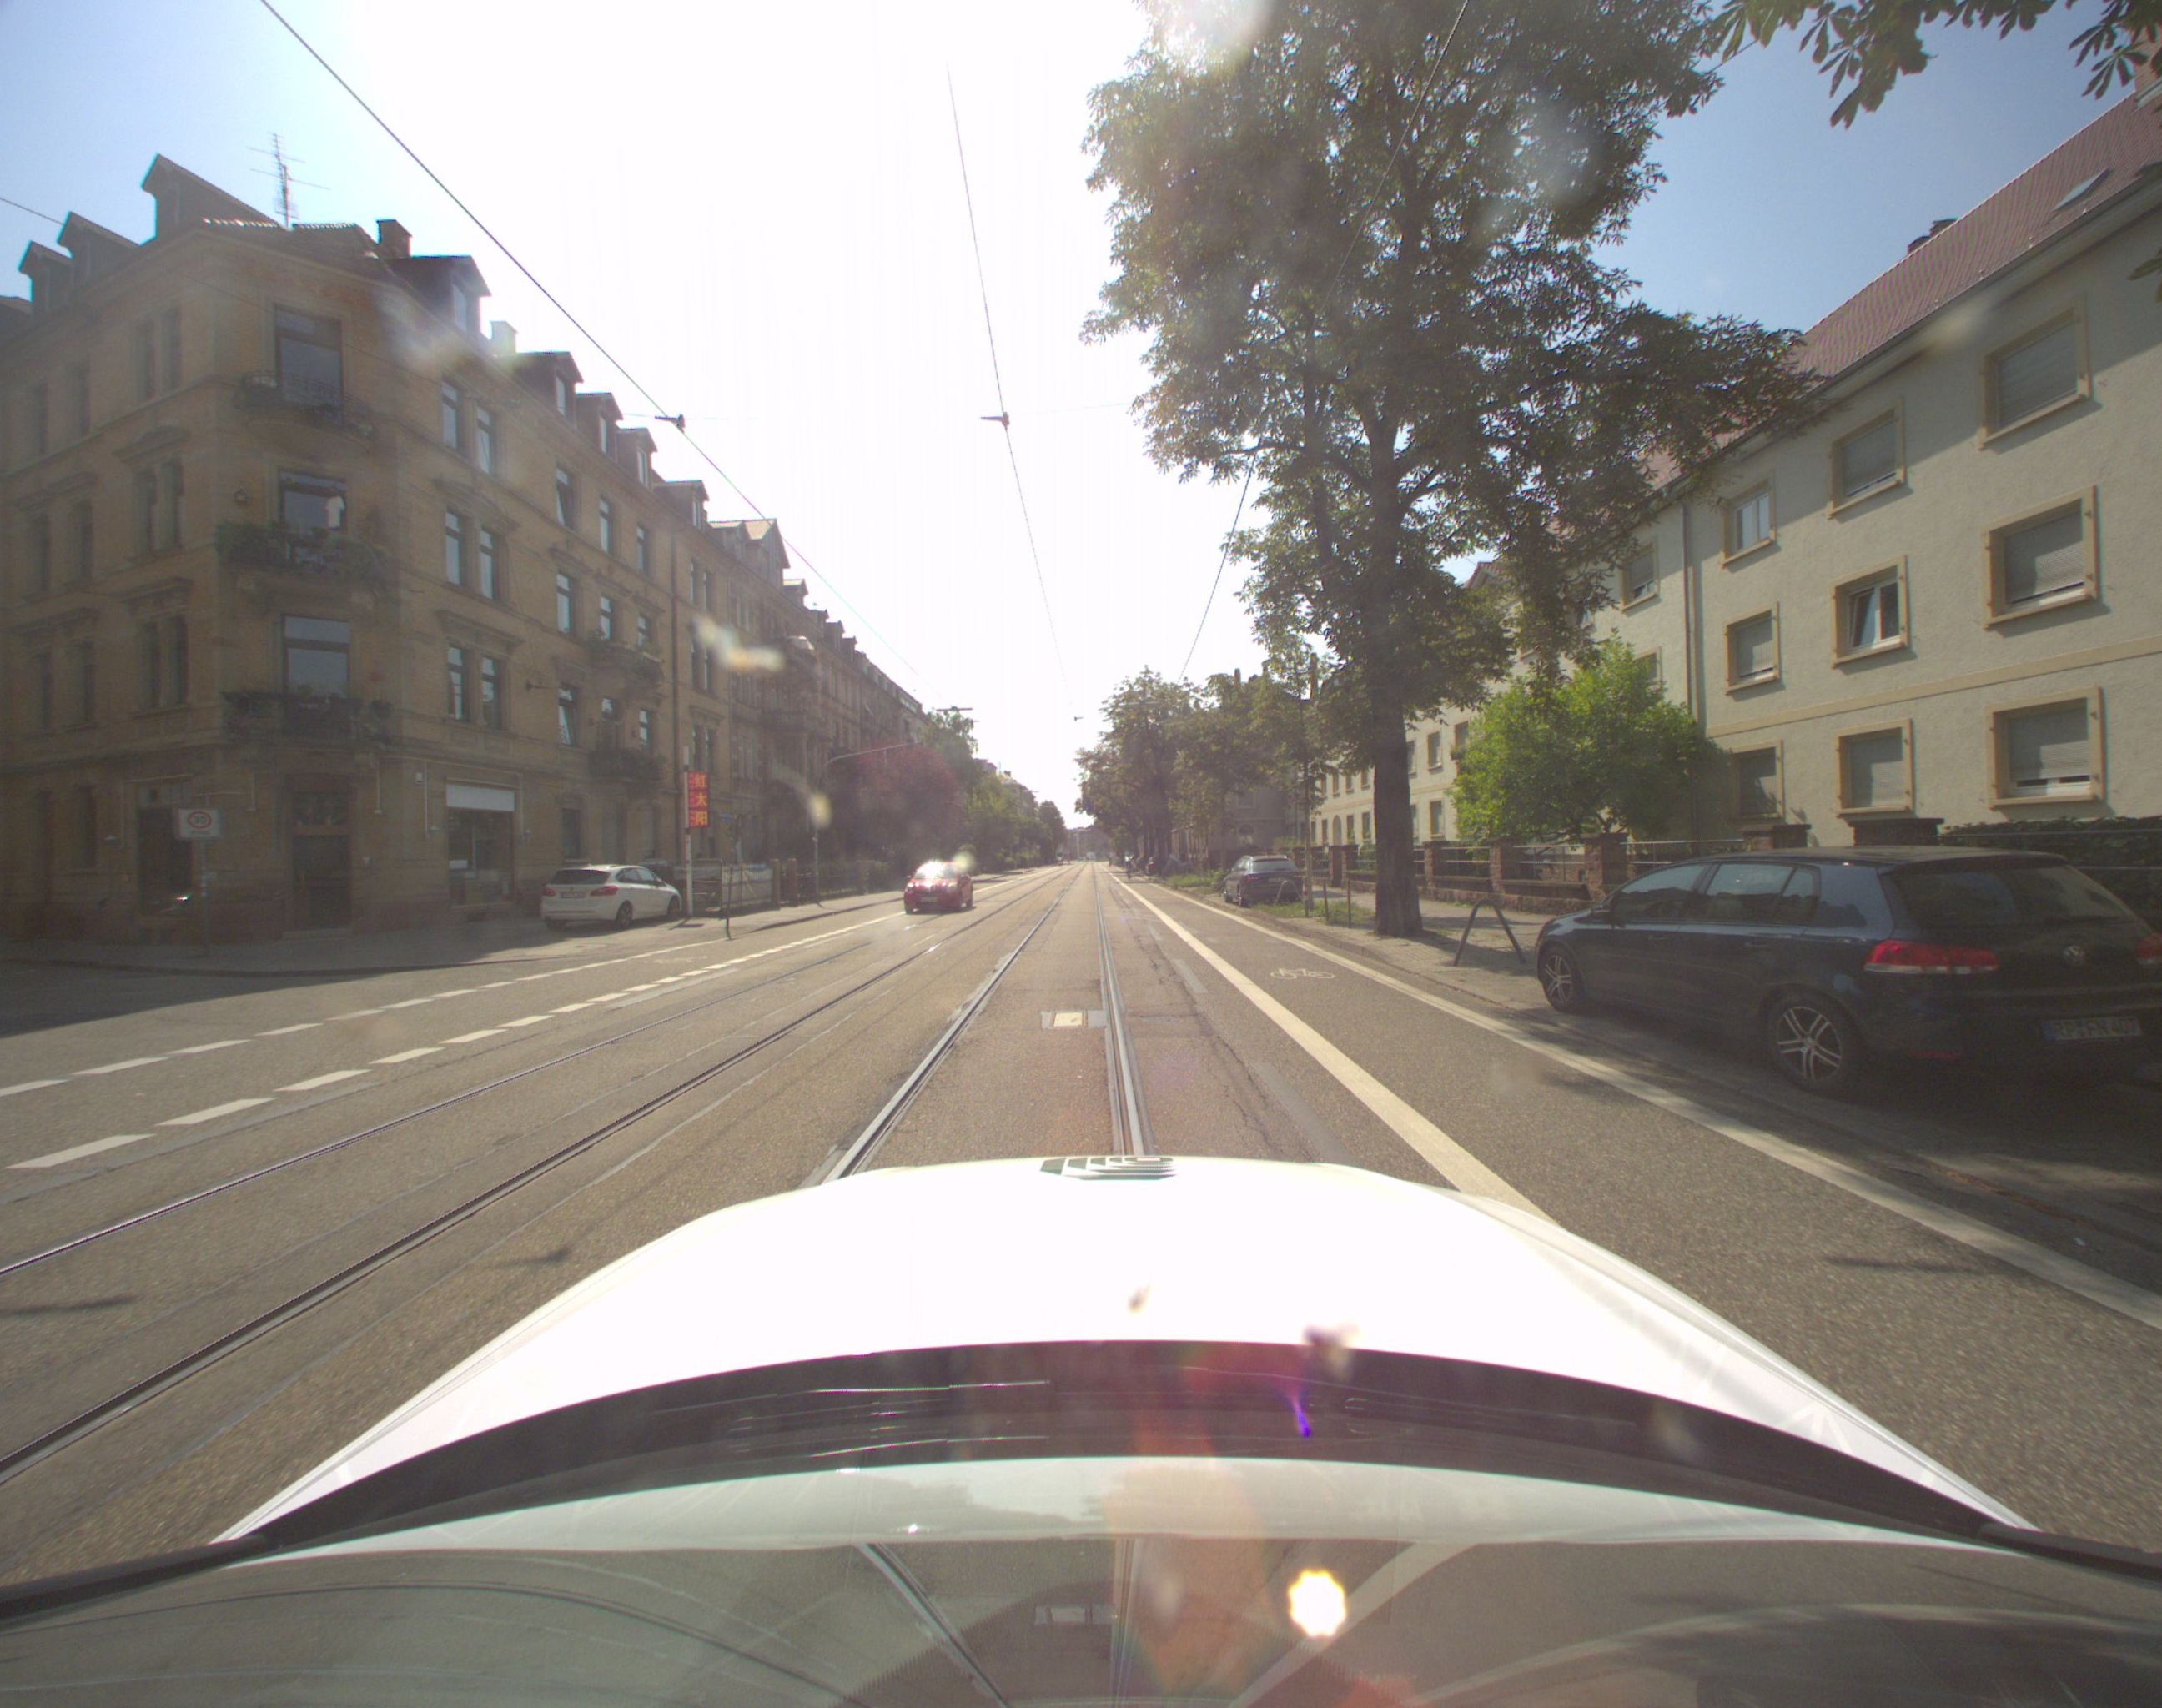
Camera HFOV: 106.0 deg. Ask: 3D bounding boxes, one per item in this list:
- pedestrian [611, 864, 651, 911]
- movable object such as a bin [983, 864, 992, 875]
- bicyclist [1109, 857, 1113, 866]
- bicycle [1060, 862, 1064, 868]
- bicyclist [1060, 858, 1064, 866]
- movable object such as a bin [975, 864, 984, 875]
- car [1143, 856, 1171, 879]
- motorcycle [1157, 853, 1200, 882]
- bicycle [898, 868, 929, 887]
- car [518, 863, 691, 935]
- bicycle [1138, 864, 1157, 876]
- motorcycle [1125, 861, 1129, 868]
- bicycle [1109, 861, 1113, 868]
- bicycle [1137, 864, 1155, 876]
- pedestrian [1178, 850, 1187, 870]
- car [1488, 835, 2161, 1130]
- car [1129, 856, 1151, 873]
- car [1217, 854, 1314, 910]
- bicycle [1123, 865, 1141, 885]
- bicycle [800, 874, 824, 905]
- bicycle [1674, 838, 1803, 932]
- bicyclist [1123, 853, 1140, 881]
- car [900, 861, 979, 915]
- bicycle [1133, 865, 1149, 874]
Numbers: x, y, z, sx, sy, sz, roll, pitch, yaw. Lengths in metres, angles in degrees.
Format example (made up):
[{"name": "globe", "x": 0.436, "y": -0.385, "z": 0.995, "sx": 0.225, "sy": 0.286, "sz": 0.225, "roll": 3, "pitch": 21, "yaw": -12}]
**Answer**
[{"name": "pedestrian", "x": -15.038, "y": 1.094, "z": 27.244, "sx": 0.866, "sy": 1.511, "sz": 0.884, "roll": -1, "pitch": -1, "yaw": -8}, {"name": "movable object such as a bin", "x": -9.775, "y": 1.622, "z": 85.005, "sx": 0.783, "sy": 1.076, "sz": 0.804, "roll": 0, "pitch": -1, "yaw": 3}, {"name": "bicyclist", "x": 4.484, "y": 1.146, "z": 122.860, "sx": 0.576, "sy": 1.279, "sz": 0.471, "roll": -2, "pitch": -1, "yaw": 3}, {"name": "bicycle", "x": -3.175, "y": 1.803, "z": 136.087, "sx": 0.756, "sy": 0.991, "sz": 2.296, "roll": -1, "pitch": -1, "yaw": -2}, {"name": "bicyclist", "x": -3.186, "y": 1.312, "z": 136.062, "sx": 0.756, "sy": 1.392, "sz": 0.778, "roll": -1, "pitch": -1, "yaw": -2}, {"name": "movable object such as a bin", "x": -10.618, "y": 1.626, "z": 85.001, "sx": 0.783, "sy": 1.076, "sz": 0.804, "roll": 0, "pitch": -1, "yaw": 3}, {"name": "car", "x": 5.880, "y": 1.020, "z": 63.367, "sx": 1.834, "sy": 1.532, "sz": 4.115, "roll": -2, "pitch": 1, "yaw": 0}, {"name": "motorcycle", "x": 5.676, "y": 0.805, "z": 47.562, "sx": 2.316, "sy": 1.540, "sz": 0.975, "roll": -5, "pitch": -3, "yaw": 42}, {"name": "bicycle", "x": -10.812, "y": 1.507, "z": 52.637, "sx": 1.805, "sy": 1.182, "sz": 0.717, "roll": 0, "pitch": -1, "yaw": 2}, {"name": "car", "x": -12.037, "y": 1.059, "z": 20.965, "sx": 1.989, "sy": 1.594, "sz": 4.354, "roll": -2, "pitch": -1, "yaw": -3}, {"name": "bicycle", "x": 6.304, "y": 1.500, "z": 76.918, "sx": 1.713, "sy": 1.149, "sz": 0.377, "roll": -1, "pitch": -1, "yaw": 7}, {"name": "motorcycle", "x": 7.480, "y": 1.734, "z": 132.891, "sx": 0.547, "sy": 1.068, "sz": 2.330, "roll": -2, "pitch": -1, "yaw": 1}, {"name": "bicycle", "x": 4.499, "y": 1.603, "z": 122.856, "sx": 0.585, "sy": 0.939, "sz": 2.173, "roll": -2, "pitch": -1, "yaw": 3}, {"name": "bicycle", "x": 6.132, "y": 1.511, "z": 76.539, "sx": 1.597, "sy": 1.104, "sz": 0.399, "roll": -1, "pitch": -1, "yaw": 7}, {"name": "pedestrian", "x": 9.468, "y": 0.558, "z": 75.809, "sx": 0.703, "sy": 1.892, "sz": 0.714, "roll": -2, "pitch": -1, "yaw": 2}, {"name": "car", "x": 5.182, "y": 0.670, "z": 6.400, "sx": 1.750, "sy": 1.477, "sz": 4.385, "roll": -2, "pitch": 0, "yaw": 0}, {"name": "car", "x": 5.821, "y": 1.063, "z": 80.788, "sx": 1.834, "sy": 1.532, "sz": 4.779, "roll": -3, "pitch": -1, "yaw": 0}, {"name": "car", "x": 5.515, "y": 0.792, "z": 24.941, "sx": 1.886, "sy": 1.477, "sz": 4.840, "roll": -2, "pitch": -1, "yaw": 0}, {"name": "bicycle", "x": 3.449, "y": 1.413, "z": 55.442, "sx": 1.143, "sy": 1.269, "sz": 2.713, "roll": -2, "pitch": -1, "yaw": 2}, {"name": "bicycle", "x": -10.004, "y": 1.317, "z": 30.337, "sx": 0.389, "sy": 1.099, "sz": 1.567, "roll": -1, "pitch": 0, "yaw": -1}, {"name": "bicycle", "x": 10.068, "y": 0.447, "z": 12.564, "sx": 0.454, "sy": 1.333, "sz": 1.892, "roll": -2, "pitch": -1, "yaw": 1}, {"name": "bicyclist", "x": 3.432, "y": 0.877, "z": 55.603, "sx": 1.121, "sy": 1.837, "sz": 0.956, "roll": -2, "pitch": -1, "yaw": 1}, {"name": "car", "x": -4.386, "y": 1.012, "z": 25.750, "sx": 1.726, "sy": 1.490, "sz": 4.000, "roll": -2, "pitch": 0, "yaw": 0}, {"name": "bicycle", "x": 6.656, "y": 1.714, "z": 90.937, "sx": 1.706, "sy": 1.032, "sz": 0.566, "roll": -2, "pitch": -1, "yaw": 1}]
